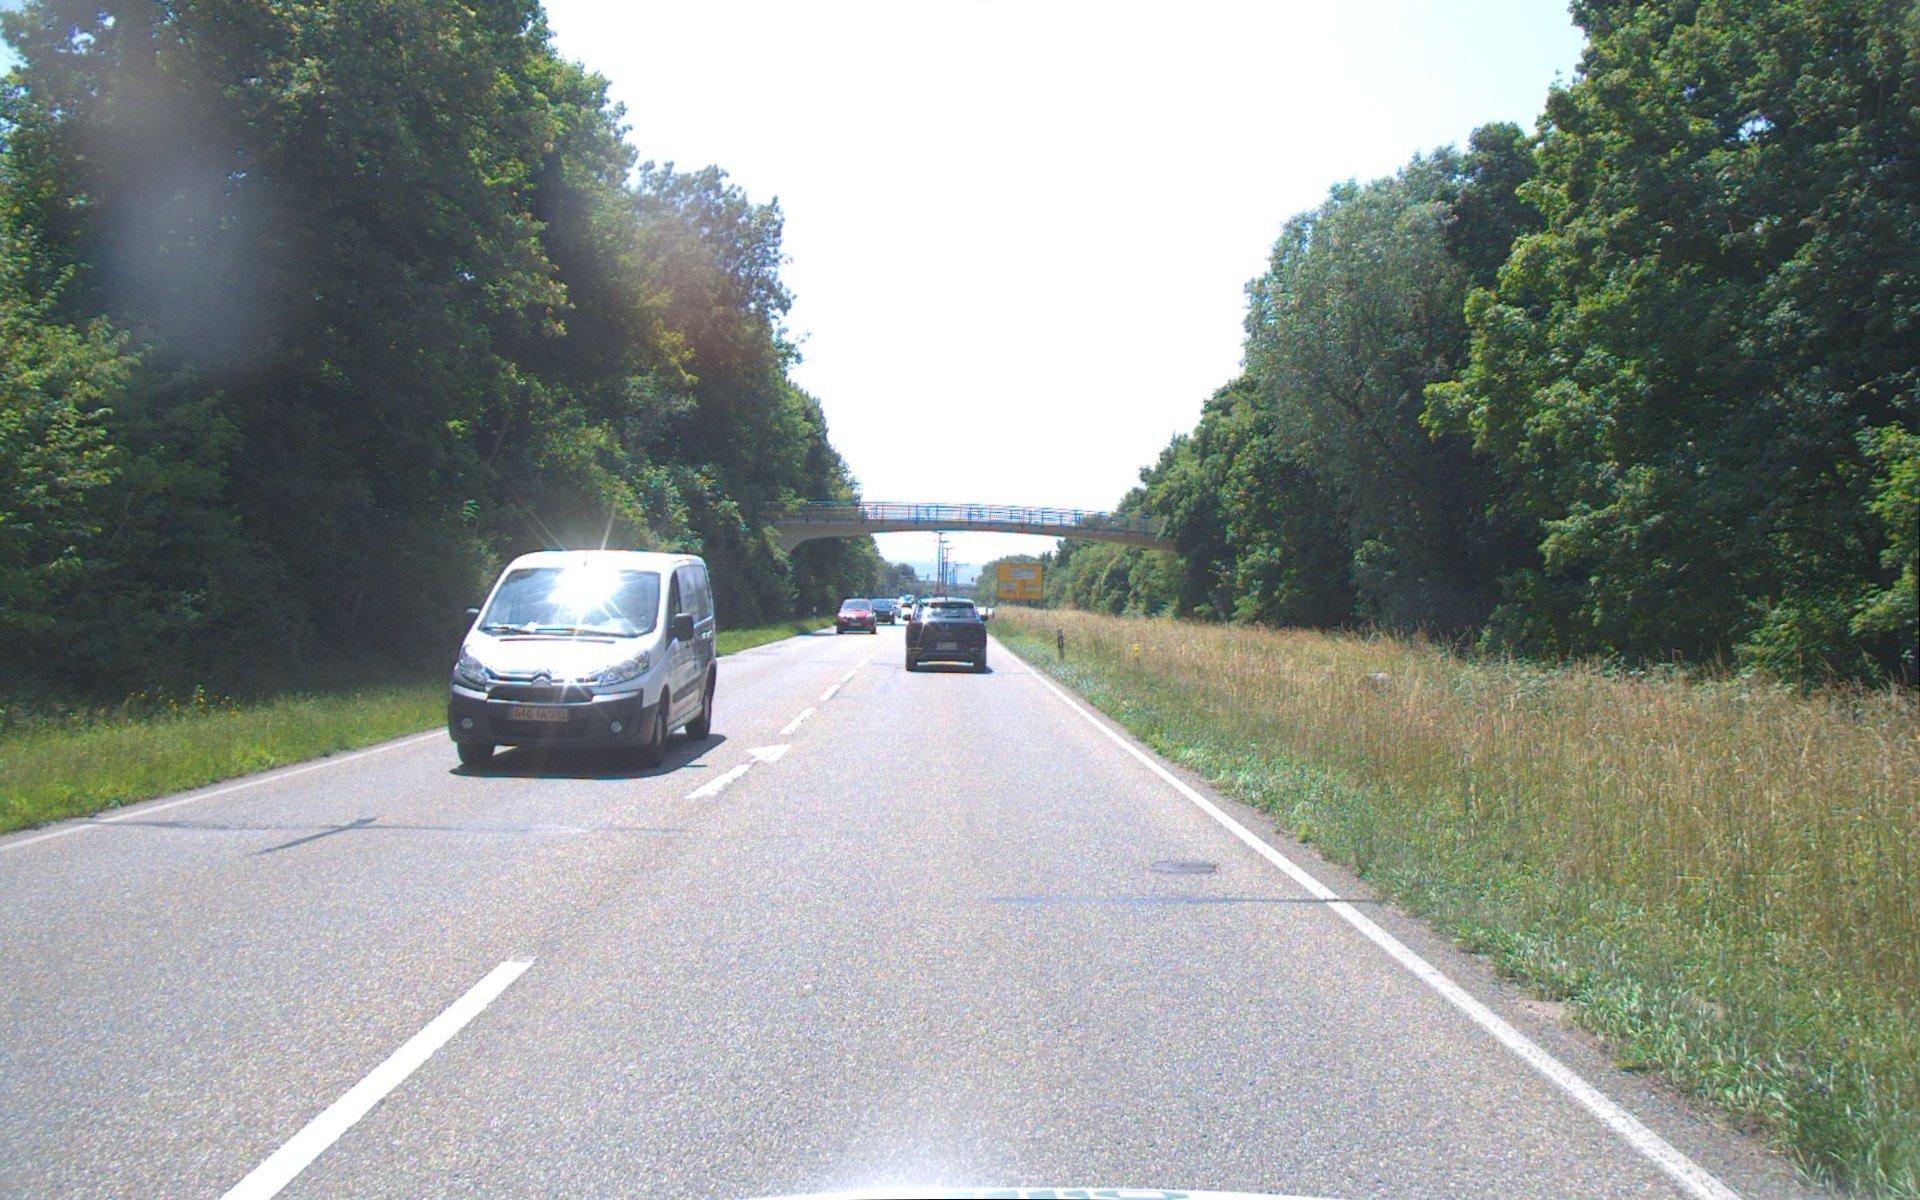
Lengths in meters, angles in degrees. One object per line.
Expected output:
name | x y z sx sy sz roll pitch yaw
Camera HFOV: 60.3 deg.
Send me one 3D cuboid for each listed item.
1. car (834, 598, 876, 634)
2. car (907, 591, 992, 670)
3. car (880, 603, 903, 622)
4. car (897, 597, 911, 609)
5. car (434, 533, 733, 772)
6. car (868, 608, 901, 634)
car | -4.593 0.670 72.607 1.648 1.519 3.999 0 0 -1
car | -0.284 0.655 36.533 1.720 1.583 3.998 2 -1 -2
car | -5.477 1.011 131.684 1.643 1.458 3.772 0 0 0
car | -7.494 0.374 223.282 1.786 1.618 4.418 0 0 -1
car | -3.480 0.450 16.300 1.837 1.963 4.986 1 0 -1
car | -4.492 1.246 99.216 1.747 1.475 4.109 1 0 1
